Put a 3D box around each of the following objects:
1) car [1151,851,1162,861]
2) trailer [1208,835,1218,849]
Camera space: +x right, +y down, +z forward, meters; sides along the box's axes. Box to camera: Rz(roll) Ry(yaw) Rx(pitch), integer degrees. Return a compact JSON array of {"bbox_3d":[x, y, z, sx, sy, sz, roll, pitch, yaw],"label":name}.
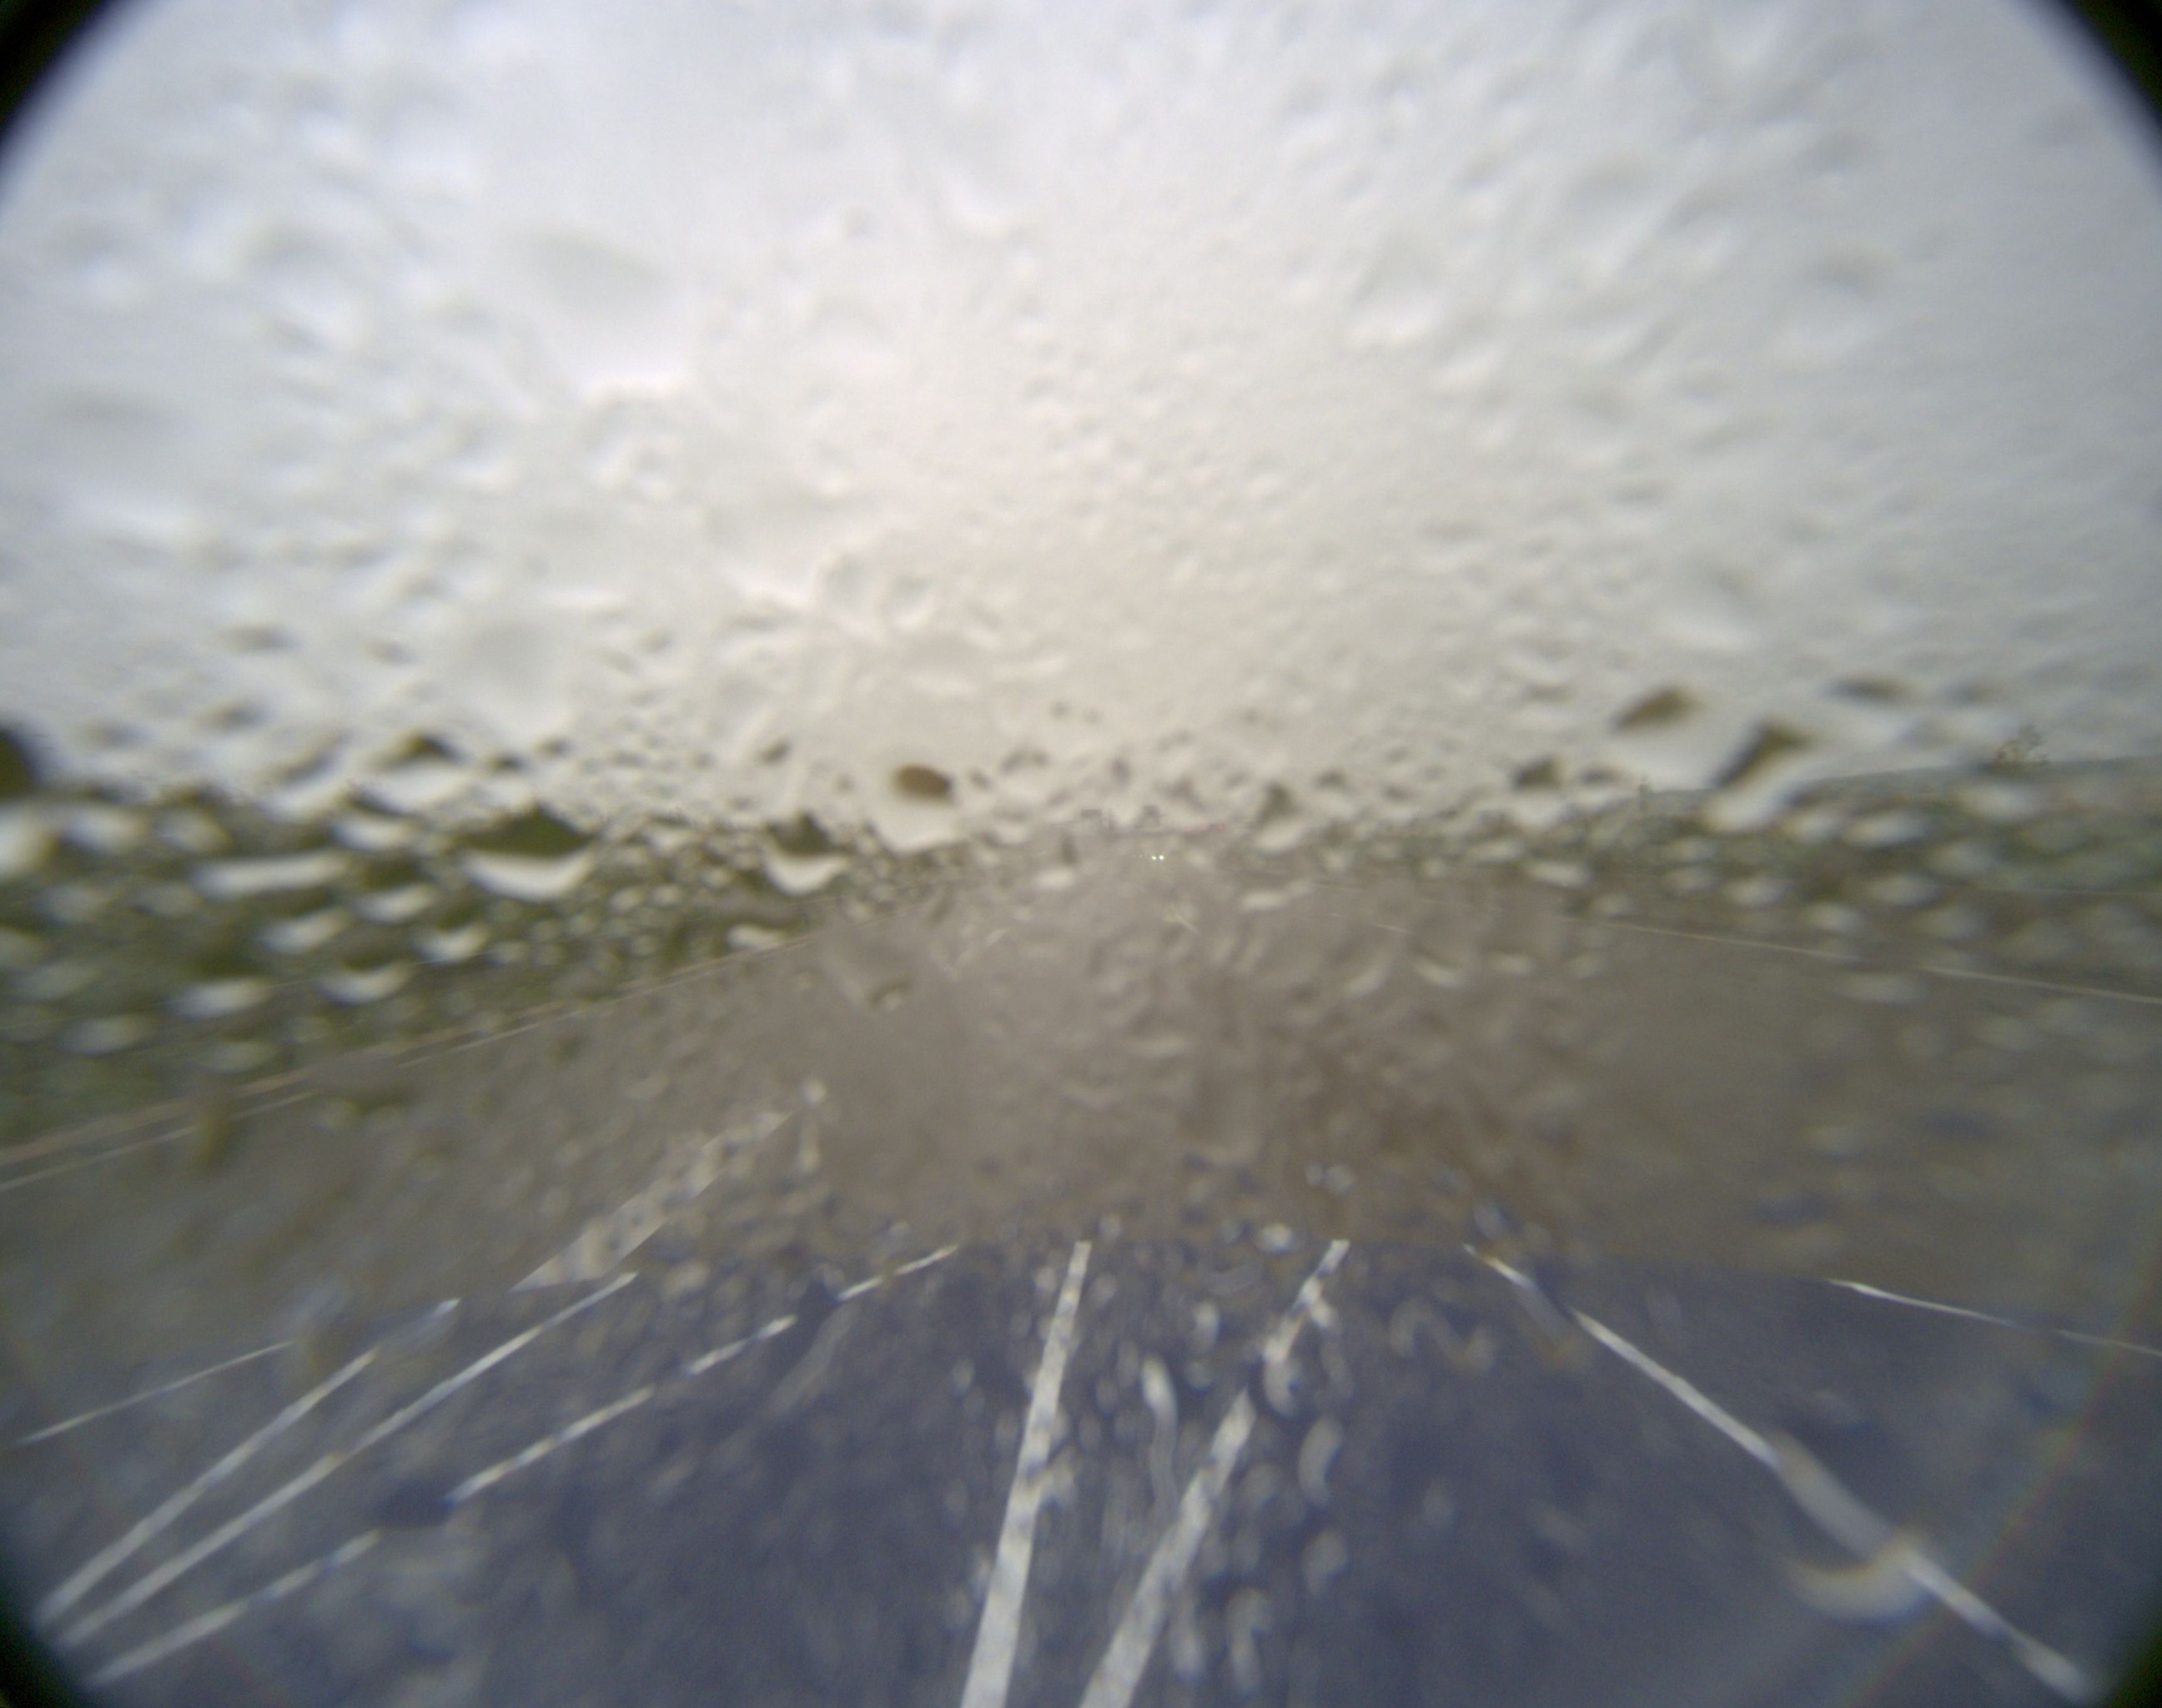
[{"bbox_3d":[12.974,0.349,130.241,1.700,1.543,3.734,-3,0,3],"label":"car"},{"bbox_3d":[40.608,-3.669,233.818,1.998,4.016,14.308,-2,0,6],"label":"trailer"}]
